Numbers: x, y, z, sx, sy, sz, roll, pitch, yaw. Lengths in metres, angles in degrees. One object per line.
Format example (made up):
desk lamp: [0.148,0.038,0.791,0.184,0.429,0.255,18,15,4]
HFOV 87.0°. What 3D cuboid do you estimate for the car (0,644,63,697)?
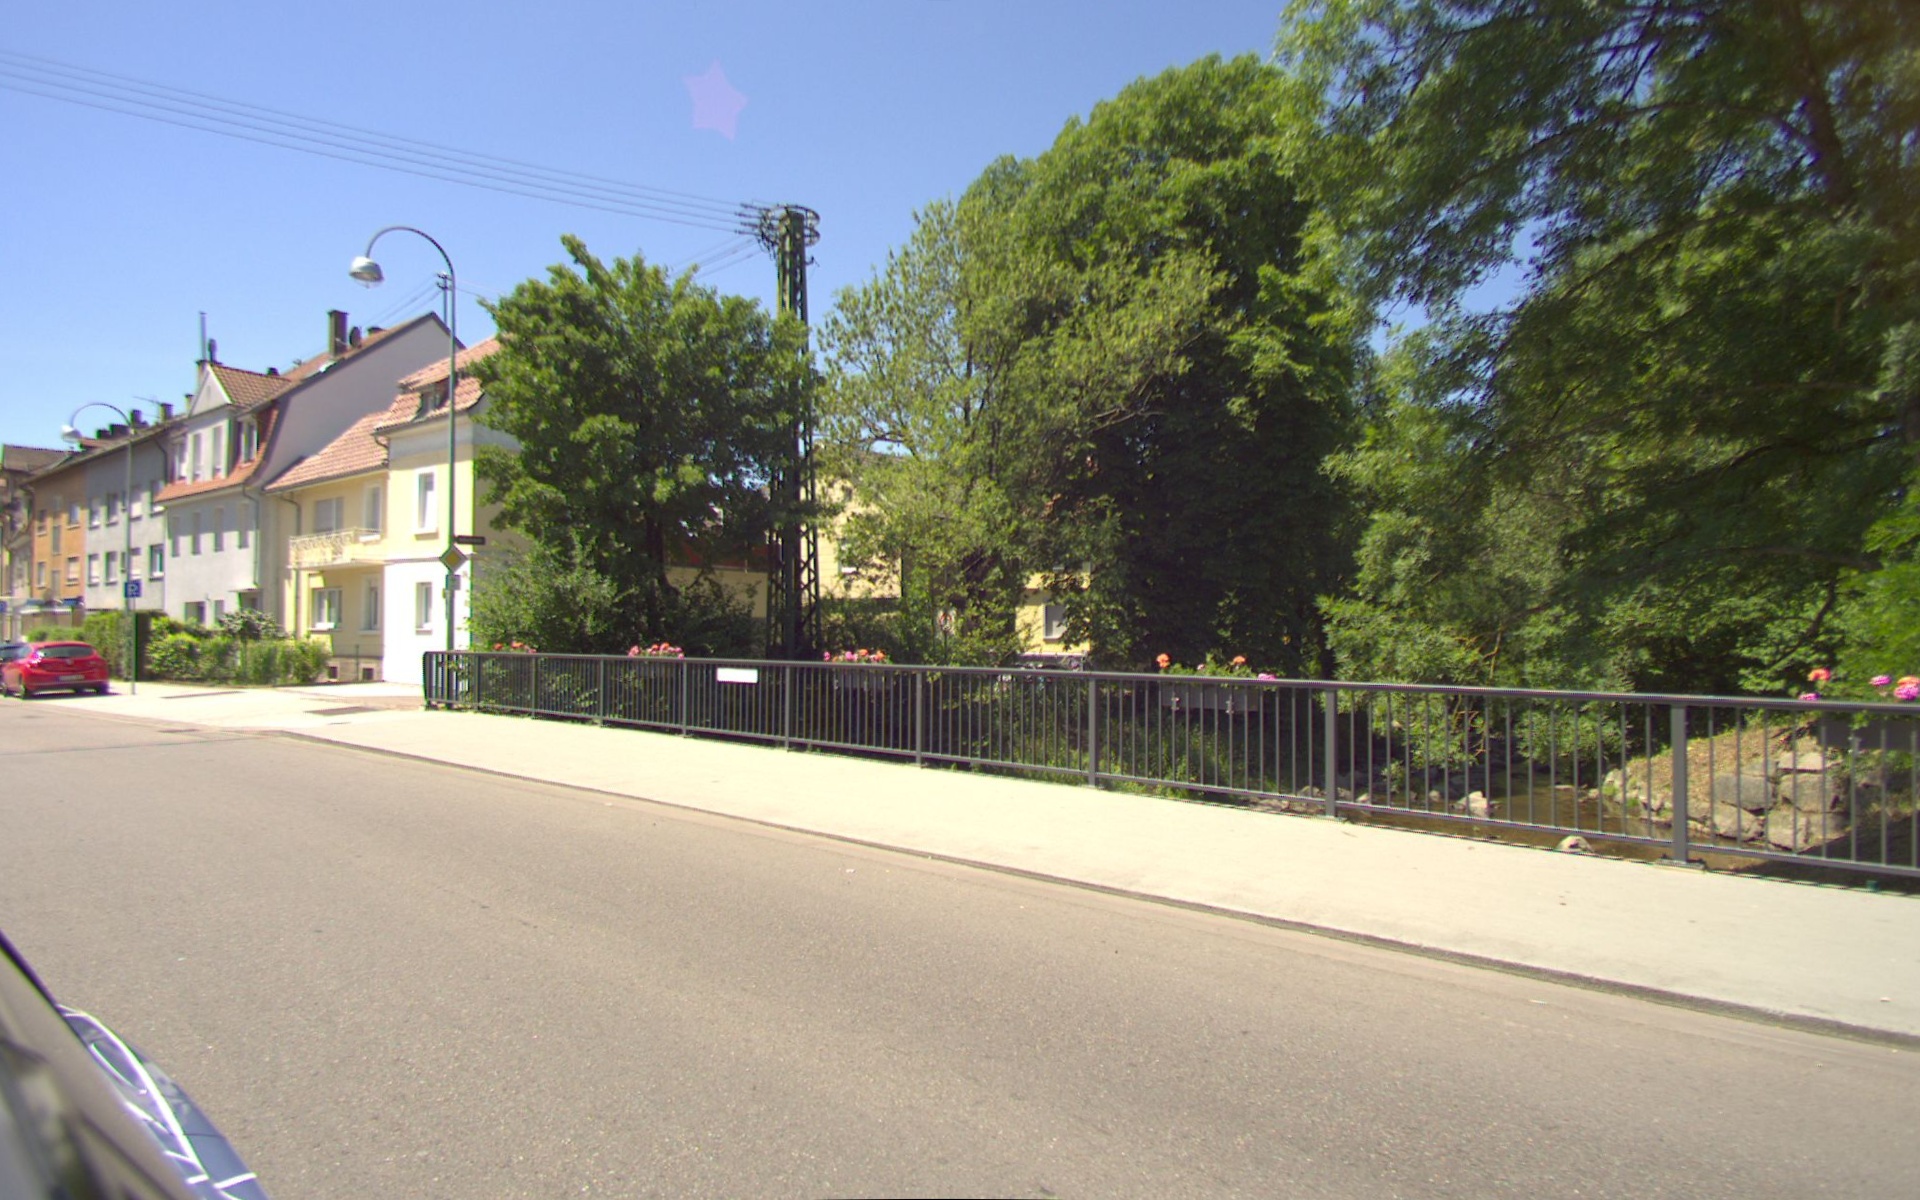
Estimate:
car: [-29.439,2.151,31.114,5.299,1.473,1.846,-3,-1,38]

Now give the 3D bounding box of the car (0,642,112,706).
car: [-24.871,1.953,27.532,4.732,1.491,1.859,-2,0,39]

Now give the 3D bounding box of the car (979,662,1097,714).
car: [2.582,2.791,32.757,1.997,1.488,3.950,0,-3,37]

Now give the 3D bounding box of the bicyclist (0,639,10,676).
bicyclist: [-44.924,2.678,47.167,0.834,1.672,0.775,-2,-3,37]

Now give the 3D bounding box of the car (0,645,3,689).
car: [-34.294,2.350,34.750,4.197,1.470,1.769,-3,0,42]

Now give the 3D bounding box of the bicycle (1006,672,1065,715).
bicycle: [2.280,2.787,30.289,1.859,1.250,0.561,4,-4,-38]
